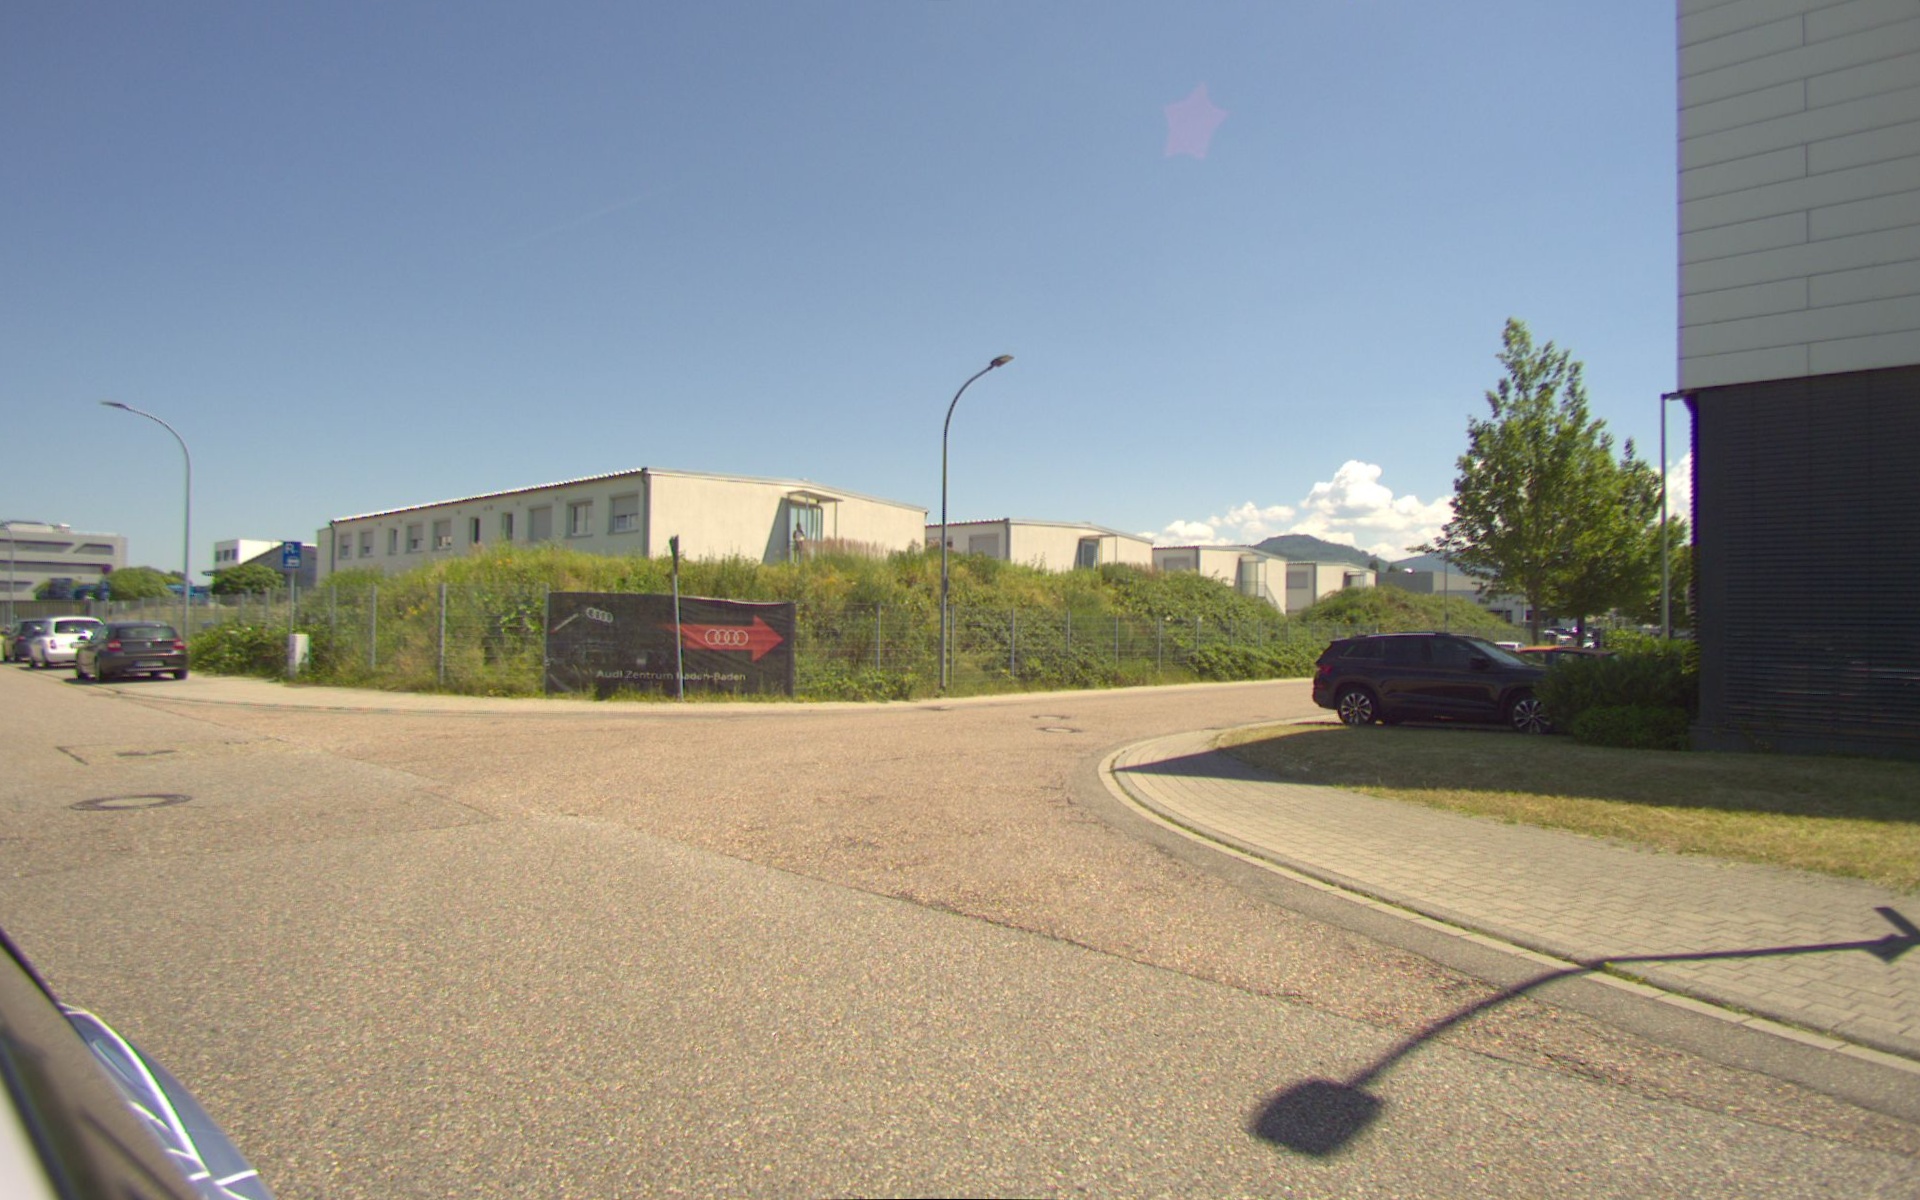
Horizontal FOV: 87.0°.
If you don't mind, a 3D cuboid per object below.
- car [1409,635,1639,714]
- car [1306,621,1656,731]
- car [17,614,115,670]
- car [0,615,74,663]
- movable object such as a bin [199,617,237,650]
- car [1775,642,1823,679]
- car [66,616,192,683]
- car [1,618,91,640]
[{"bbox_3d":[11.902,1.594,21.527,3.933,1.535,1.661,-5,-5,43],"label":"car"},{"bbox_3d":[8.604,1.329,17.078,4.902,1.605,1.785,-5,-8,43],"label":"car"},{"bbox_3d":[-27.095,1.260,30.644,3.755,1.541,1.656,0,-4,41],"label":"car"},{"bbox_3d":[-32.014,1.305,34.902,3.907,1.541,1.656,0,-1,41],"label":"car"},{"bbox_3d":[-33.008,1.476,45.024,1.434,1.459,1.131,0,-1,43],"label":"movable object such as a bin"},{"bbox_3d":[43.480,3.103,52.484,1.864,1.649,3.785,0,0,40],"label":"car"},{"bbox_3d":[-20.275,1.159,24.644,4.066,1.461,1.656,0,-2,41],"label":"car"},{"bbox_3d":[-60.190,1.915,66.674,1.862,1.390,4.201,-1,-2,42],"label":"car"}]
